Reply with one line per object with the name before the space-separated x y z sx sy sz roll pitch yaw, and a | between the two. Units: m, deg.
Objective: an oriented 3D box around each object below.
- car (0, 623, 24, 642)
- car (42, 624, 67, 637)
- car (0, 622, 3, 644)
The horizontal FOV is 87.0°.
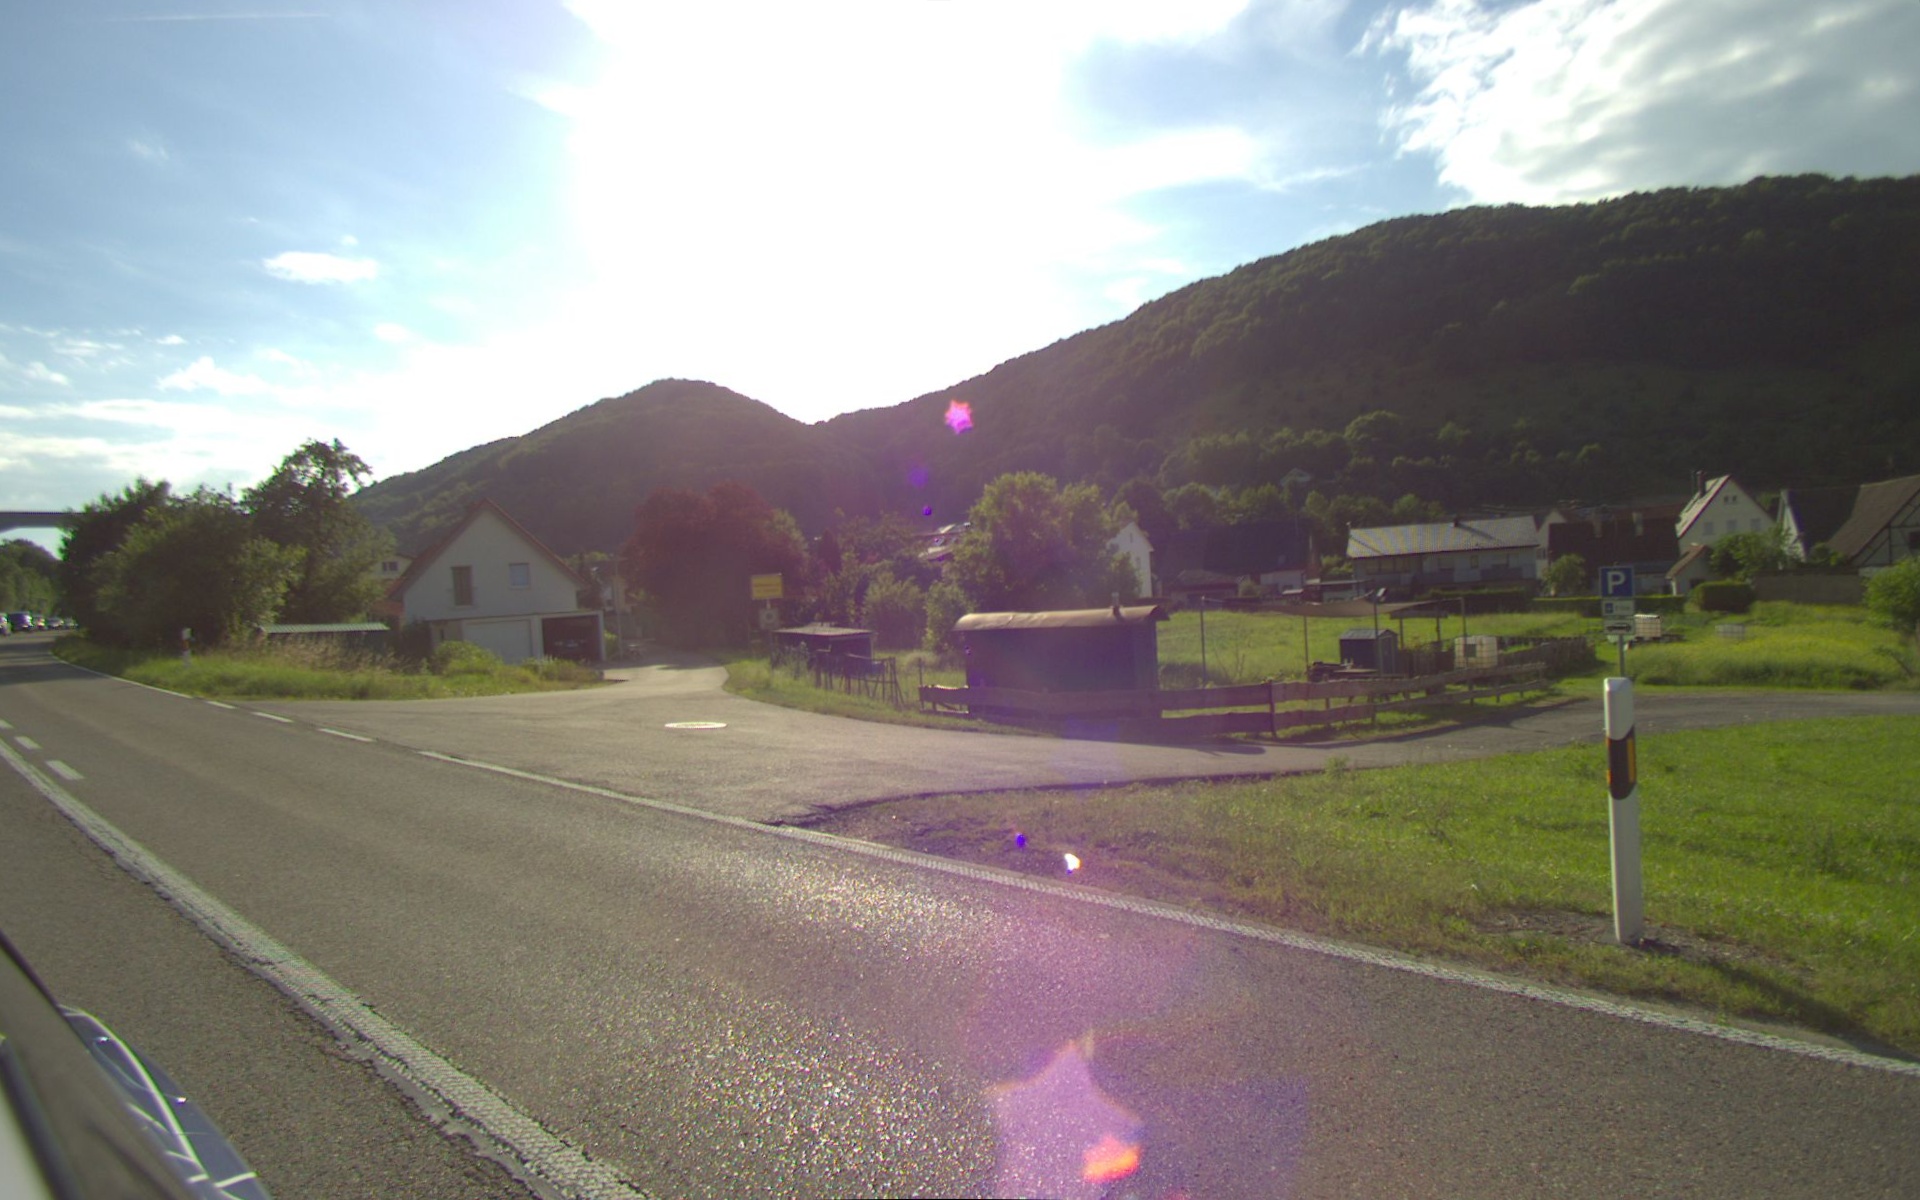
car | -83.623 2.842 88.890 1.791 1.630 4.007 1 -2 -40
car | -114.147 3.850 127.575 1.812 1.564 4.188 1 -1 -35
car | -74.442 2.531 77.173 1.791 1.630 4.007 1 -2 -39
